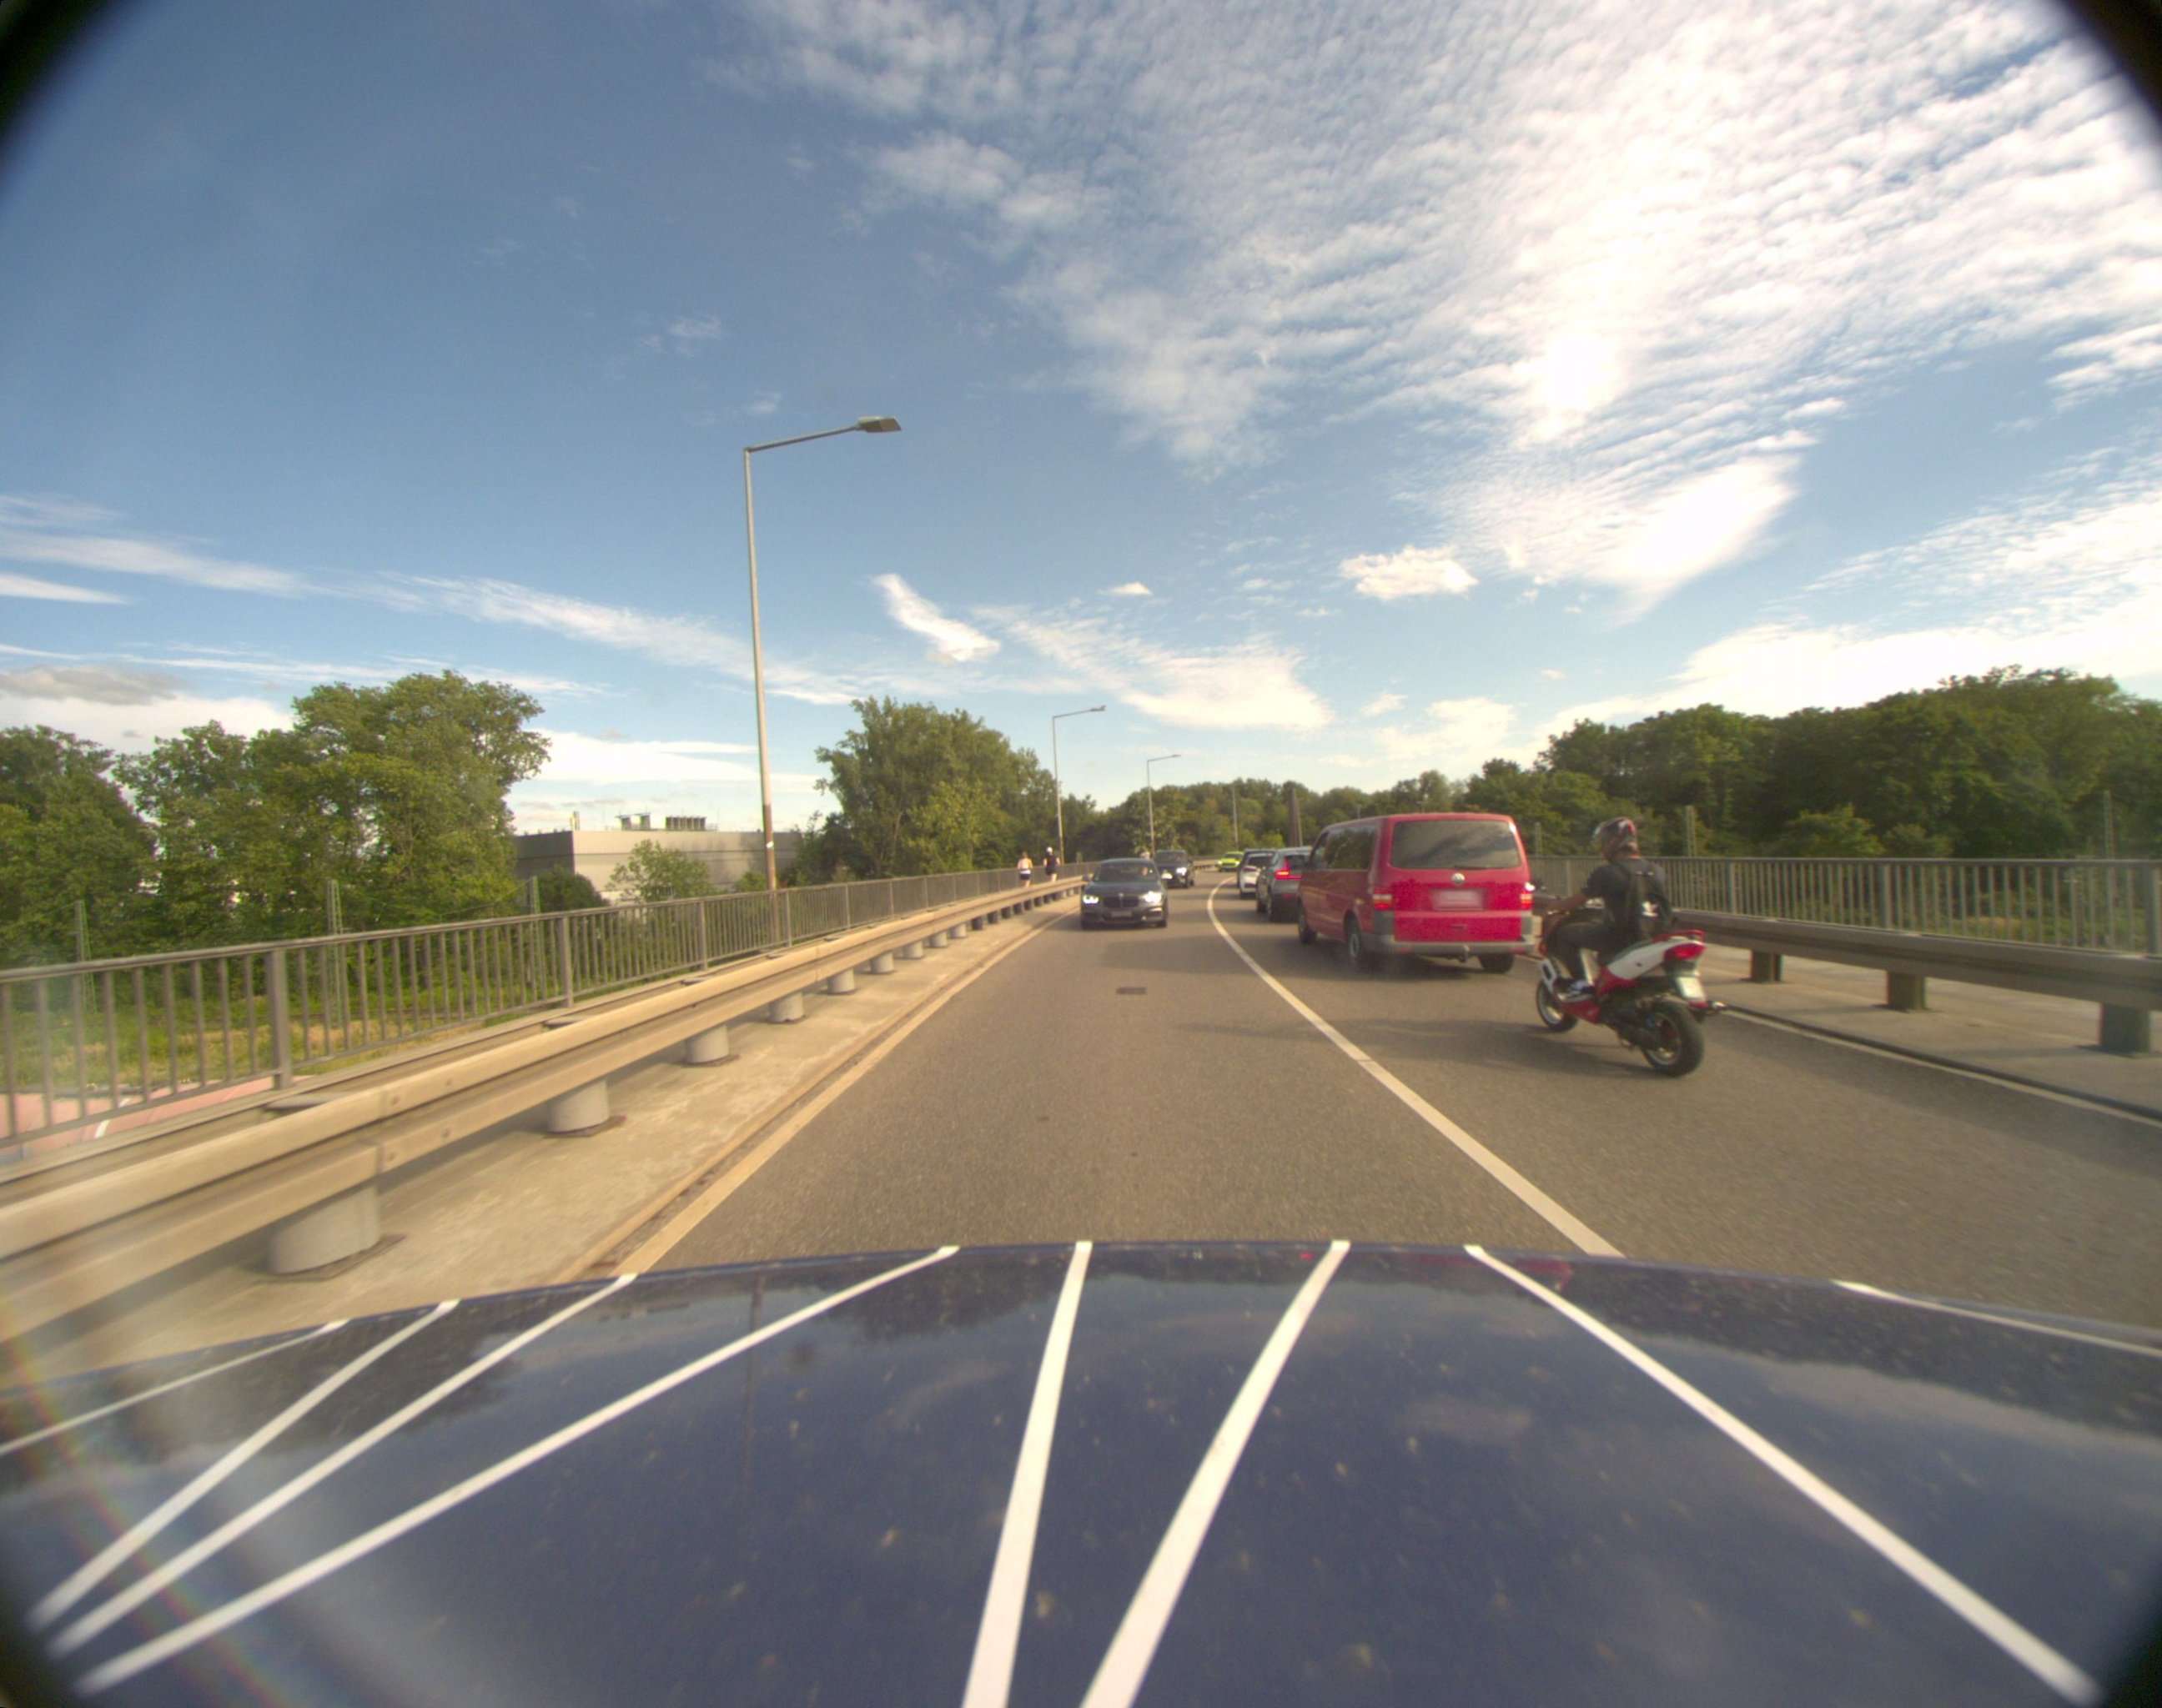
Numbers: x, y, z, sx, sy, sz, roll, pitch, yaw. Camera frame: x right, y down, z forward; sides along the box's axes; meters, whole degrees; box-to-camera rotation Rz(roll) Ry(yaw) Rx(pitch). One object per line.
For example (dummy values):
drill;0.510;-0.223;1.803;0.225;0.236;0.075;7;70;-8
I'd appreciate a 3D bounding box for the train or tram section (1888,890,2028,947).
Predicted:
train or tram section;62.181;4.561;53.990;6.834;3.762;2.052;-1;1;8

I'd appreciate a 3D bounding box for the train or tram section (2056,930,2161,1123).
train or tram section;36.128;4.391;19.873;16.734;4.686;3.096;-1;1;2

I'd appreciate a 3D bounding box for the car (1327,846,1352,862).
car;25.029;-0.051;73.529;1.761;1.481;4.398;0;1;26

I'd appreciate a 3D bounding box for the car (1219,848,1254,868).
car;11.438;0.258;55.613;1.816;1.396;4.397;-1;1;21

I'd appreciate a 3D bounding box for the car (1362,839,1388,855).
car;32.545;-0.774;83.965;1.870;1.656;4.638;0;1;31

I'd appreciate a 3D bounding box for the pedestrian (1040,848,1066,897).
pedestrian;-0.962;0.623;26.154;0.678;1.652;0.866;-1;1;10

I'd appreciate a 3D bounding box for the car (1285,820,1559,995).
car;4.341;0.565;10.673;2.011;1.892;4.869;-1;1;5

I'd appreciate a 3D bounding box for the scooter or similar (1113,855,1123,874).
scooter or similar;2.318;0.665;47.304;0.265;1.155;1.190;-1;1;18

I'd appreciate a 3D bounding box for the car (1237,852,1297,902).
car;6.161;0.701;25.507;1.743;1.492;4.080;-1;1;11

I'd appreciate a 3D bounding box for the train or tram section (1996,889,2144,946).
train or tram section;68.949;4.429;53.102;6.834;3.762;2.052;-1;1;8

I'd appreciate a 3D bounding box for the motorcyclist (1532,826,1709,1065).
motorcyclist;3.764;0.595;5.381;0.621;1.544;0.937;-1;1;3

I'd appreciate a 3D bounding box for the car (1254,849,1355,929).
car;4.999;0.701;17.531;1.755;1.600;4.316;-1;1;10

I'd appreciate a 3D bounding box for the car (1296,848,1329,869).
car;17.376;0.282;56.955;1.761;1.481;4.398;0;1;25

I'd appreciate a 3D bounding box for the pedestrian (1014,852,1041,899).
pedestrian;-1.809;0.727;25.770;0.678;1.535;0.961;-1;1;10

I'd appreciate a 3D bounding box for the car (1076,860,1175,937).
car;1.093;0.885;16.636;1.785;1.396;3.973;-1;1;9

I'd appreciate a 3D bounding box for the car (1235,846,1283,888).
car;7.767;0.518;32.882;1.832;1.662;4.871;-1;1;15

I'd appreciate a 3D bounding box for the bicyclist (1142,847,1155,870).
bicyclist;4.606;0.318;51.784;0.708;1.548;0.755;-1;1;21

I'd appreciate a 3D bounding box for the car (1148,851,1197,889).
car;4.047;0.654;33.062;1.817;1.498;4.394;-1;1;11

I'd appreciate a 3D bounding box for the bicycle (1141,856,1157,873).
bicycle;4.659;0.730;51.932;0.596;1.114;1.699;-1;1;22

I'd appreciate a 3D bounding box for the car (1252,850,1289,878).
car;10.755;0.524;42.889;1.762;1.481;4.450;-1;1;17

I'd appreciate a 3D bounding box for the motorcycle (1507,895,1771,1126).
motorcycle;3.775;0.970;5.352;0.621;1.245;1.792;-1;1;3

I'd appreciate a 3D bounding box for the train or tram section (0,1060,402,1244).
train or tram section;-31.945;9.628;24.879;16.734;4.686;3.096;-1;1;2
